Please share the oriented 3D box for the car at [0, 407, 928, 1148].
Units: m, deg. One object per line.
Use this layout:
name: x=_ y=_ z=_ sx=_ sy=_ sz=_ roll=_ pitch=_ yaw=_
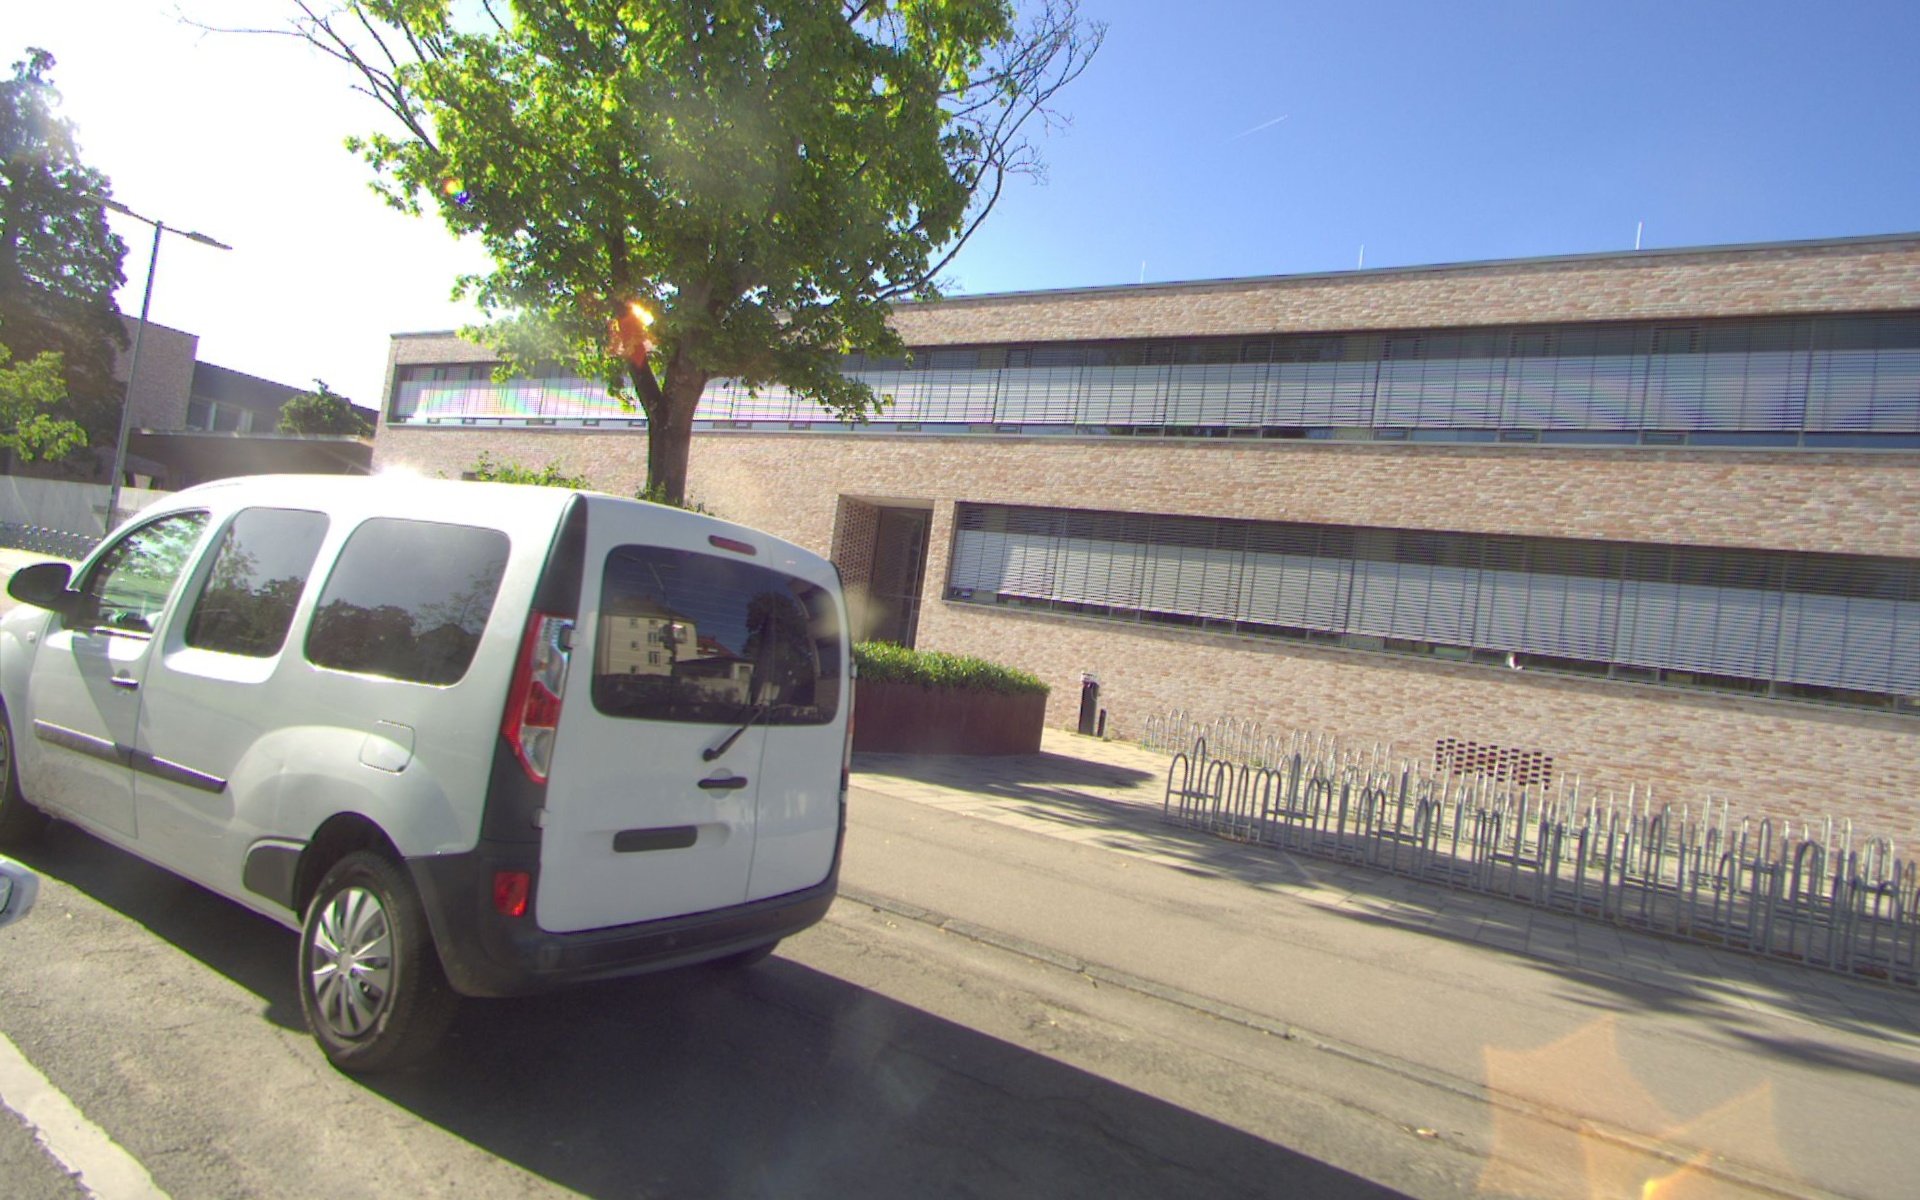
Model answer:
car: x=-2.584 y=0.347 z=4.518 sx=4.386 sy=1.929 sz=1.813 roll=7 pitch=-3 yaw=31
